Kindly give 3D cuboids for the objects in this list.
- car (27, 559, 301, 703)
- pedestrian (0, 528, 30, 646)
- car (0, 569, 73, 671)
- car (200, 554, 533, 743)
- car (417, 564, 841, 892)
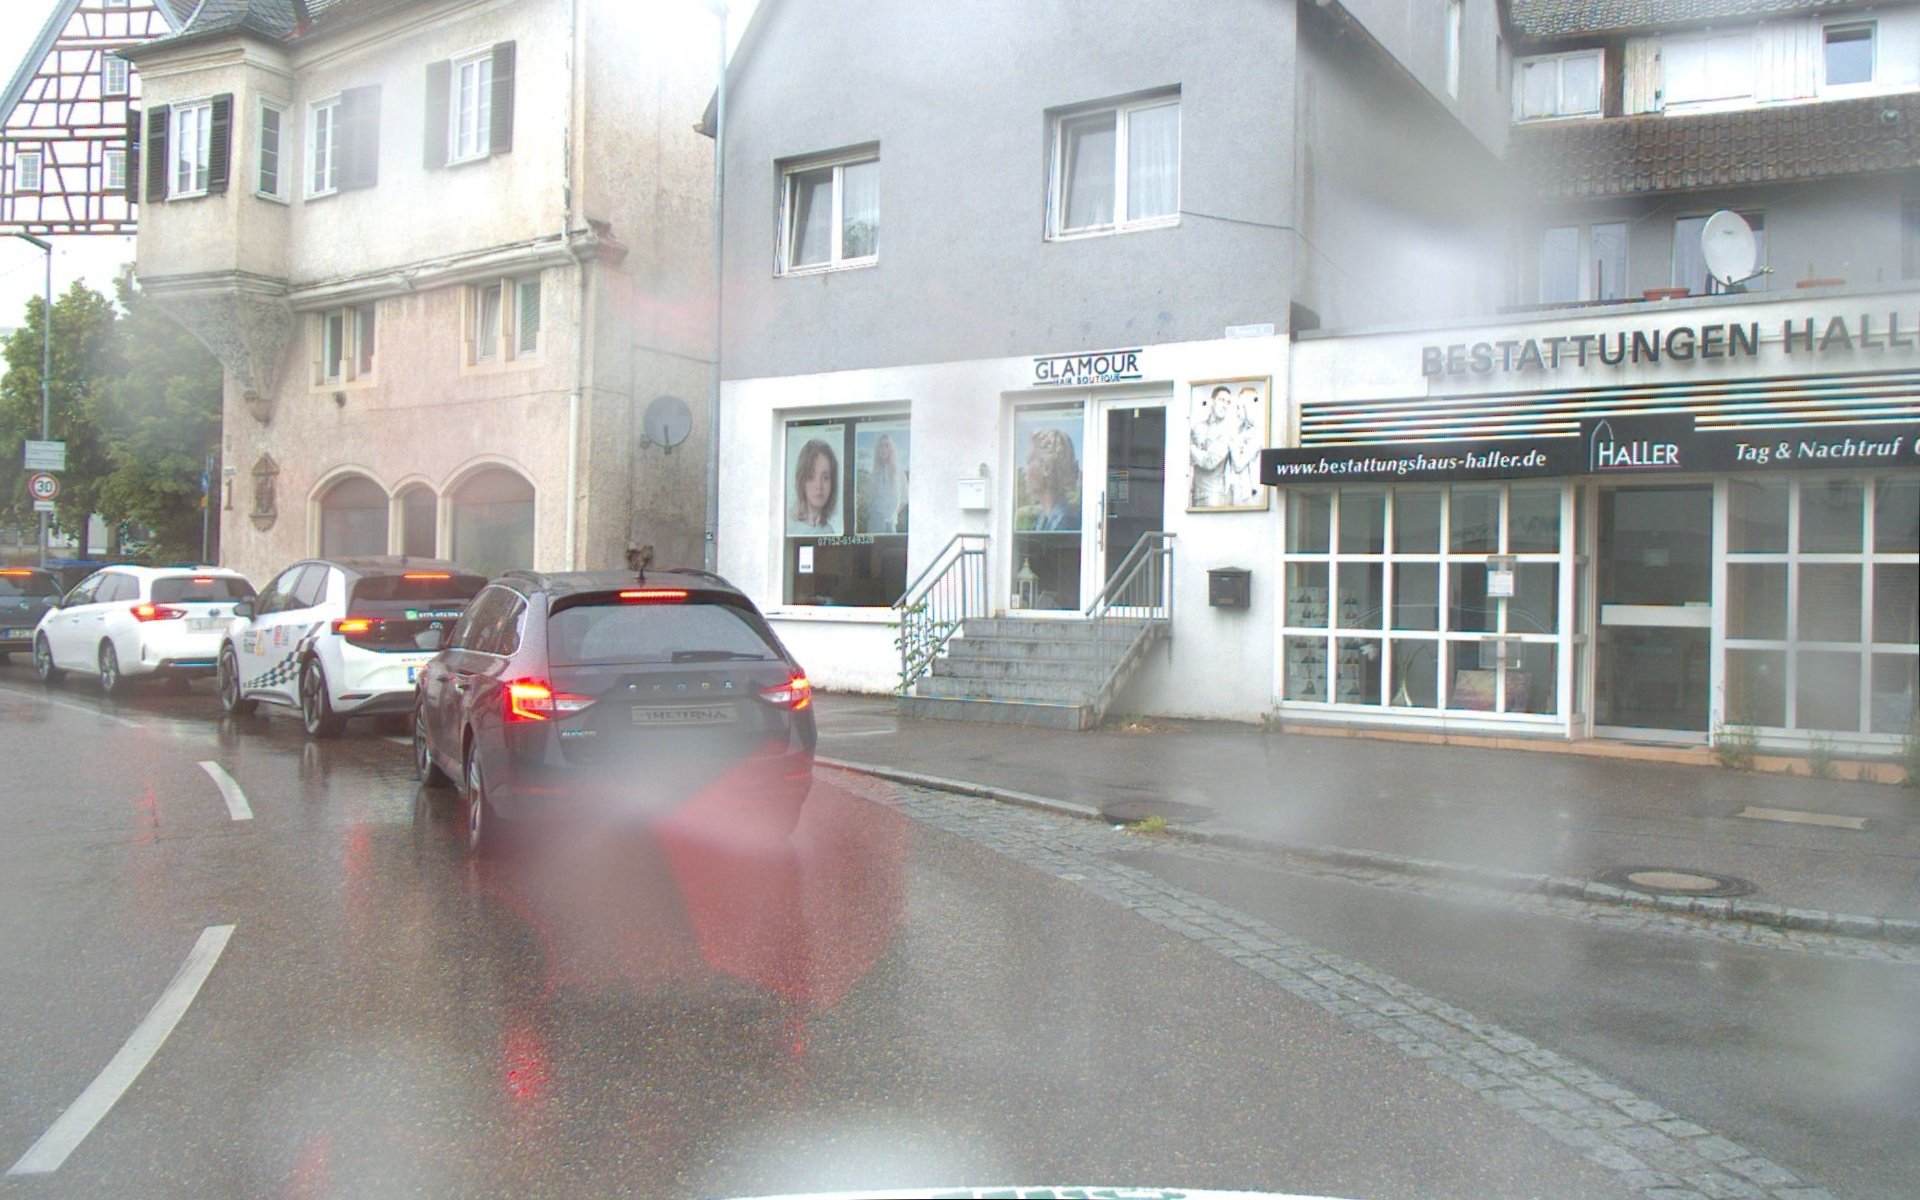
[{"bbox_3d":[-9.727,0.287,20.072,1.778,1.490,4.096,-1,3,-45],"label":"car"},{"bbox_3d":[-19.569,-0.259,33.679,0.861,2.367,1.211,0,0,-43],"label":"pedestrian"},{"bbox_3d":[-14.892,0.256,24.959,3.701,1.385,1.514,2,3,42],"label":"car"},{"bbox_3d":[-5.761,0.353,15.749,1.777,1.543,4.183,-1,1,-38],"label":"car"},{"bbox_3d":[-2.197,0.546,9.949,1.709,1.475,4.212,0,2,-23],"label":"car"}]
